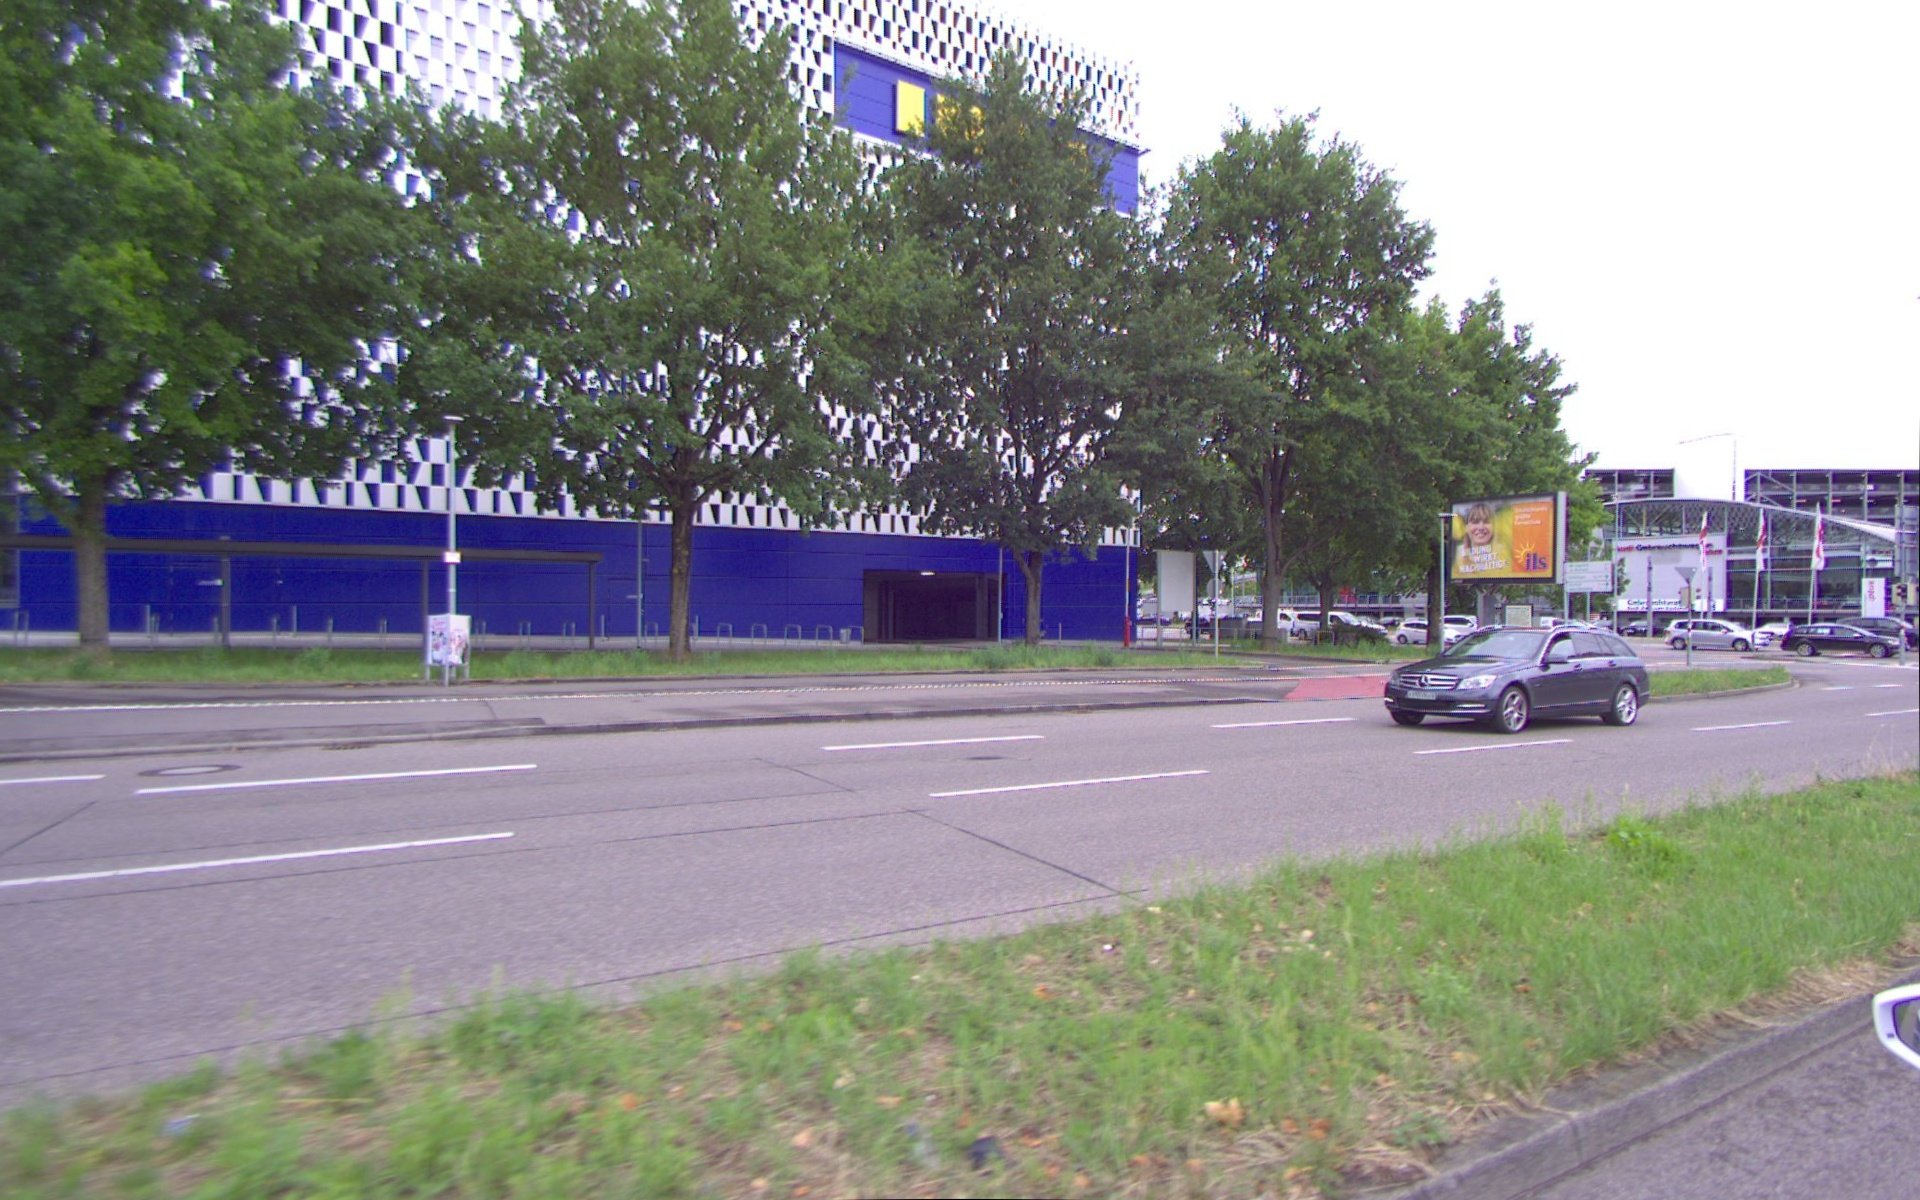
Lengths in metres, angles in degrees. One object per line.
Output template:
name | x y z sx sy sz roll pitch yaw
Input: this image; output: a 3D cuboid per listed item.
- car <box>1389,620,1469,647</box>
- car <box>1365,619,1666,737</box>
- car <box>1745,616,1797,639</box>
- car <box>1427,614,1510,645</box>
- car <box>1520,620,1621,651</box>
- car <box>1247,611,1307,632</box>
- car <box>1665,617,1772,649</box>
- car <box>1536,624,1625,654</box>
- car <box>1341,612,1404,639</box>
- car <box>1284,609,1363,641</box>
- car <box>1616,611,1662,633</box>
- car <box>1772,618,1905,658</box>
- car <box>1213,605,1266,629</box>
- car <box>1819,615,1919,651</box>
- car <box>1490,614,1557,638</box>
car | 29.900 2.098 64.137 1.973 1.532 4.201 0 0 -34
car | 8.199 1.055 14.741 4.476 1.499 1.783 1 -2 -29
car | 56.224 1.903 69.619 3.495 1.419 1.710 -1 1 -31
car | 32.948 1.872 65.131 1.980 1.734 4.403 -3 2 -35
car | 34.434 1.951 56.771 1.981 1.682 4.511 0 -1 -37
car | 24.539 1.620 77.891 1.973 1.524 4.201 0 0 -34
car | 40.430 1.731 53.600 1.981 1.529 4.217 -1 1 -37
car | 36.655 2.324 59.418 1.980 1.683 3.962 -1 -2 -35
car | 29.092 1.751 70.960 1.860 1.770 3.739 -1 1 -32
car | 25.444 1.728 70.526 1.860 1.991 5.100 -3 2 -34
car | 51.697 1.640 76.439 3.495 1.505 1.590 -1 1 -31
car | 40.976 1.727 46.933 1.981 1.682 4.384 1 0 -37
car | 21.349 1.281 76.844 1.711 1.674 3.838 -1 1 -30
car | 46.417 1.630 50.727 1.983 1.666 4.366 -1 1 -40
car | 41.163 1.862 73.442 1.744 1.589 3.913 -1 1 -37
